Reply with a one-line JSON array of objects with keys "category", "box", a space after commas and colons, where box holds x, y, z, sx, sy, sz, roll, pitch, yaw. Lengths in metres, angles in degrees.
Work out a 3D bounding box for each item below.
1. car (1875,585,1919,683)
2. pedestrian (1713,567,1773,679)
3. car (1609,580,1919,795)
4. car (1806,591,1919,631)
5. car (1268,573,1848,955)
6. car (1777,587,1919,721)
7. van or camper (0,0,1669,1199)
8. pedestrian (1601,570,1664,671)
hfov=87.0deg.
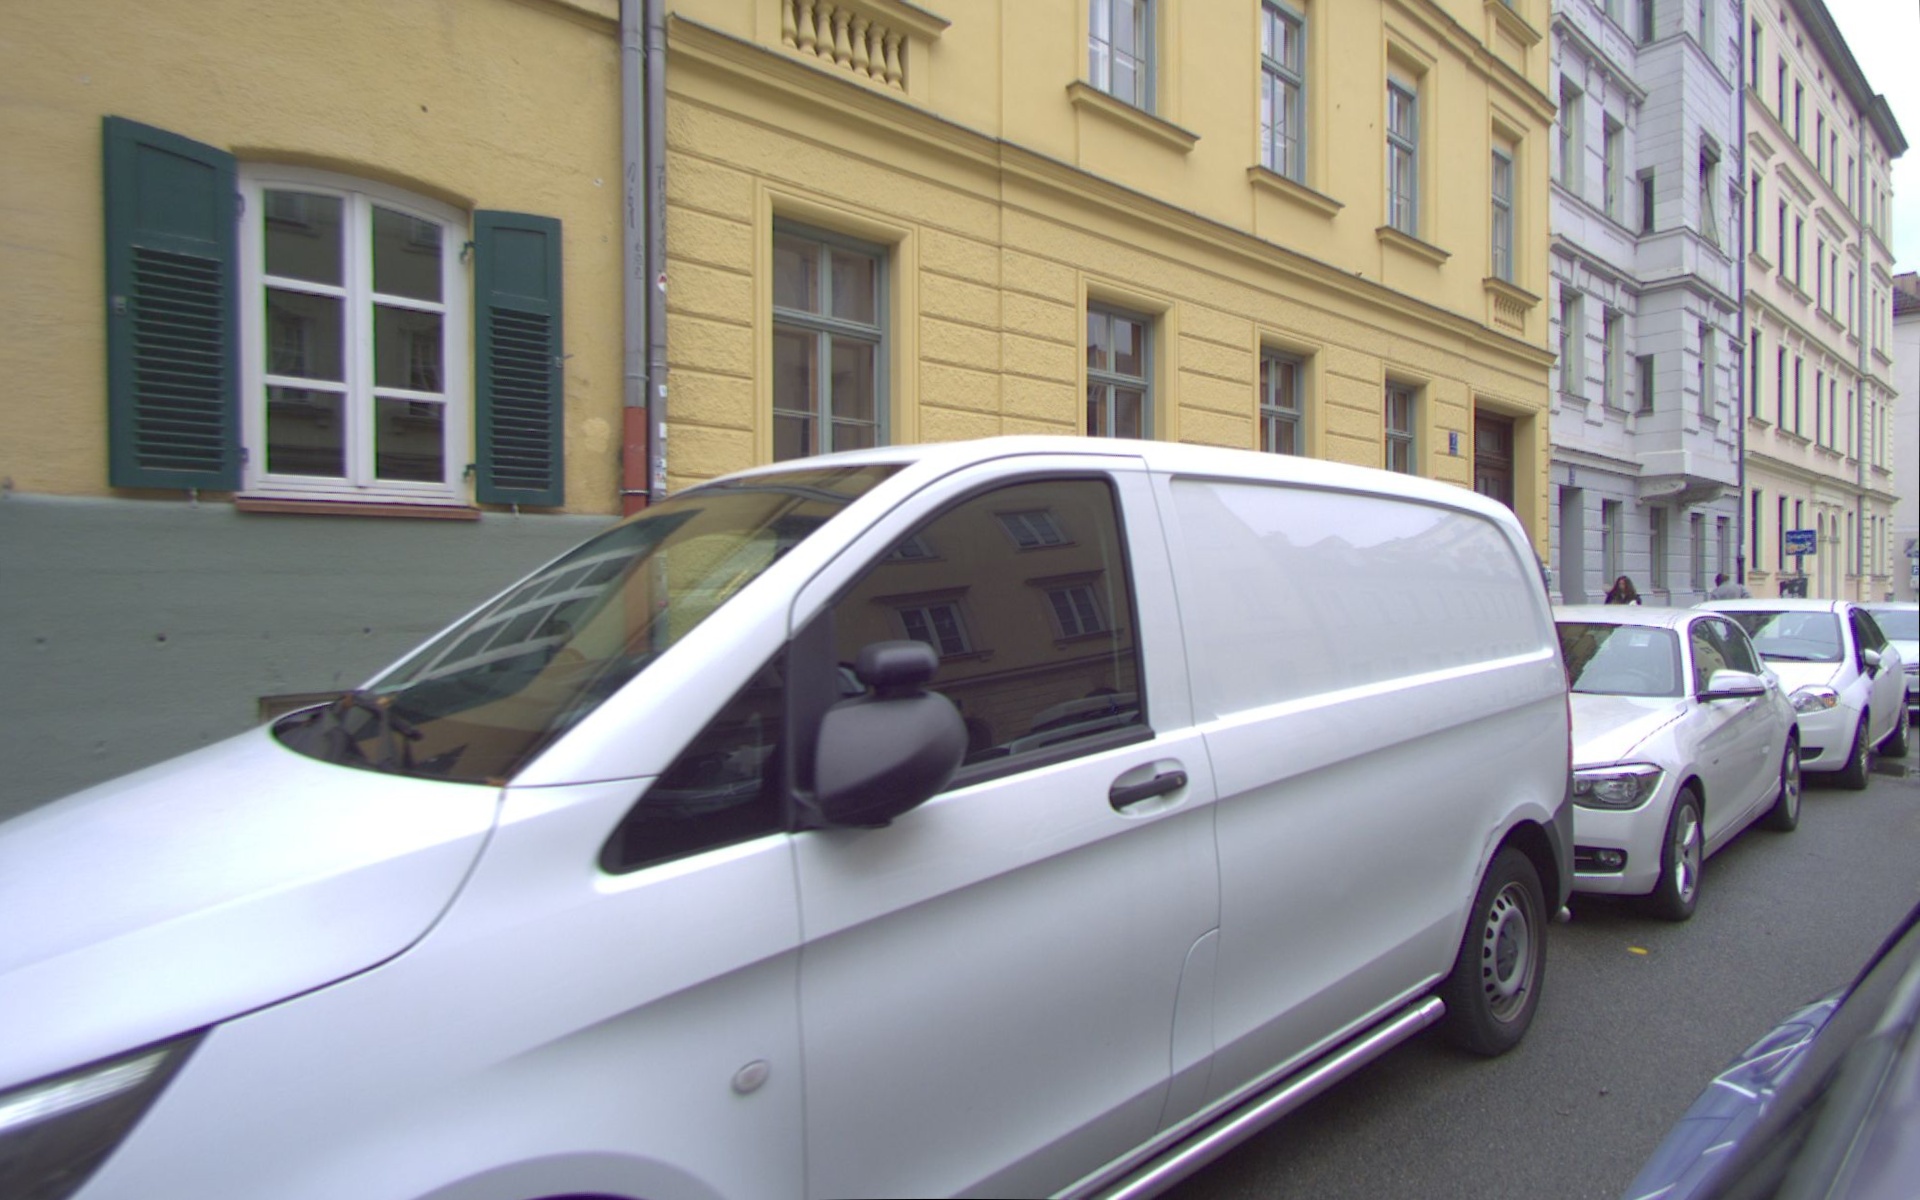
[{"category": "car", "box": [16.567, 0.524, 16.784, 3.870, 1.529, 1.719, 0, 1, -43]}, {"category": "pedestrian", "box": [13.612, 0.384, 17.597, 0.791, 1.886, 0.702, 0, 0, -42]}, {"category": "car", "box": [7.347, 0.602, 9.044, 3.695, 1.529, 1.626, 0, 1, -41]}, {"category": "car", "box": [37.881, 0.425, 42.080, 1.683, 1.585, 3.992, 0, 1, -42]}, {"category": "car", "box": [3.925, 0.630, 6.242, 4.509, 1.529, 1.818, 0, 1, -42]}, {"category": "car", "box": [12.352, 0.600, 13.287, 4.389, 1.529, 1.720, 0, 1, -40]}, {"category": "van or camper", "box": [0.208, 0.355, 3.071, 5.141, 2.039, 1.997, 0, 1, -41]}, {"category": "pedestrian", "box": [11.085, 0.318, 16.689, 0.613, 1.594, 0.646, 0, 3, -39]}]
